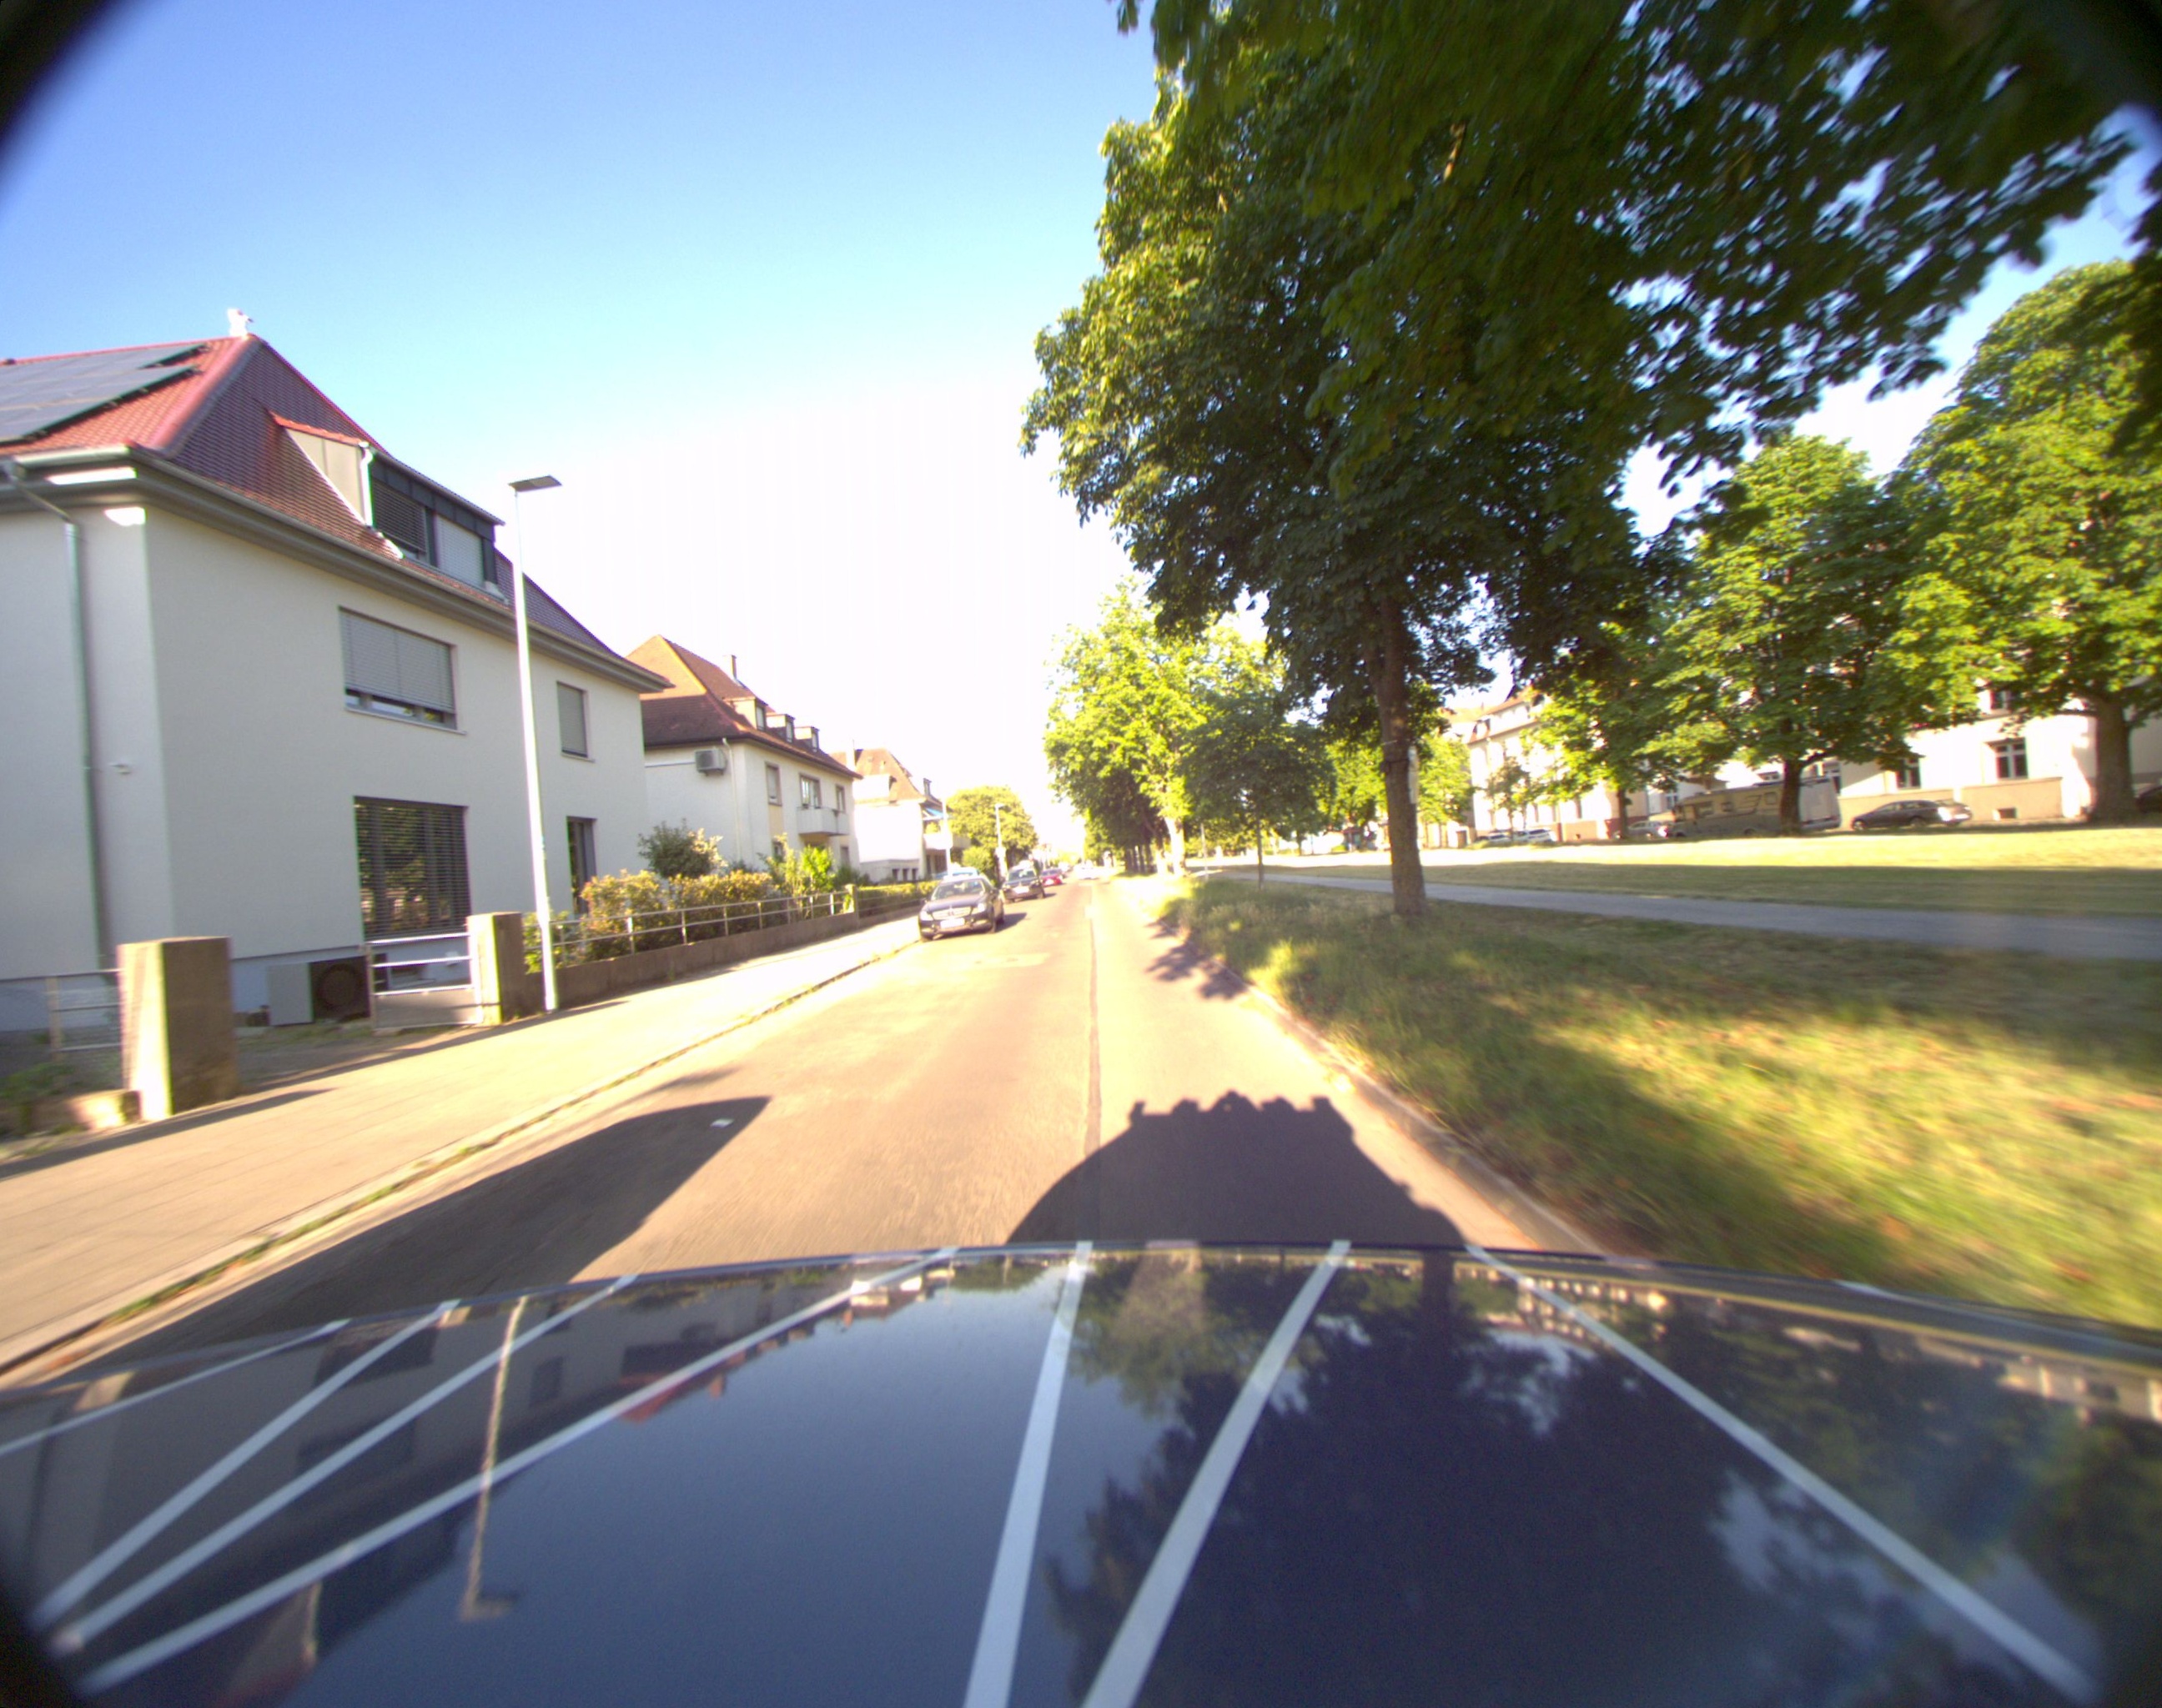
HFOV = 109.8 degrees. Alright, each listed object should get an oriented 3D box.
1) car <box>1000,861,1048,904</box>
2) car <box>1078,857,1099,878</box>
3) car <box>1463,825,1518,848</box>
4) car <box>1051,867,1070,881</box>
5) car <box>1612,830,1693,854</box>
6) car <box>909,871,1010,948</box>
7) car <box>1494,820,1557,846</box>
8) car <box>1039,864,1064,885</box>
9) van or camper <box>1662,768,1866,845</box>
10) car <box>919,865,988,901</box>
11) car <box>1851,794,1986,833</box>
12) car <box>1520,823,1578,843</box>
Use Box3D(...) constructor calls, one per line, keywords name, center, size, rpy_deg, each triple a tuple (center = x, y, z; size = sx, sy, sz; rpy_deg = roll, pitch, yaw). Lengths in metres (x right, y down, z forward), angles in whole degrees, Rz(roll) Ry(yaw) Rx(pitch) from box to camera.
Box3D(name="car", center=(-2.729, 1.343, 37.360), size=(1.862, 1.710, 4.467), rpy_deg=(-8, 0, -1))
Box3D(name="car", center=(0.769, 1.402, 80.268), size=(1.998, 2.002, 4.000), rpy_deg=(-5, 0, 1))
Box3D(name="car", center=(34.505, -1.421, 64.236), size=(1.998, 1.680, 4.876), rpy_deg=(-5, 0, 1))
Box3D(name="car", center=(-2.649, 2.548, 97.649), size=(1.998, 1.575, 4.347), rpy_deg=(-8, -1, 1))
Box3D(name="car", center=(40.370, -0.794, 53.873), size=(1.998, 1.445, 4.876), rpy_deg=(-5, 0, 0))
Box3D(name="car", center=(-2.986, 1.326, 19.592), size=(1.784, 1.490, 4.397), rpy_deg=(-7, 0, -1))
Box3D(name="car", center=(34.345, -1.590, 58.924), size=(1.998, 1.680, 4.876), rpy_deg=(-5, 0, 1))
Box3D(name="car", center=(-2.402, 1.684, 63.312), size=(1.824, 1.486, 4.224), rpy_deg=(-5, 0, 0))
Box3D(name="van or camper", center=(34.430, -2.236, 38.895), size=(3.262, 3.092, 7.897), rpy_deg=(-5, 0, 1))
Box3D(name="car", center=(-8.145, 1.821, 48.695), size=(3.998, 1.916, 2.000), rpy_deg=(-5, 0, -3))
Box3D(name="car", center=(40.167, -1.885, 36.596), size=(1.998, 1.455, 4.000), rpy_deg=(-5, 0, 0))
Box3D(name="car", center=(41.392, -1.821, 67.327), size=(1.999, 1.445, 4.875), rpy_deg=(-5, 0, -1))
